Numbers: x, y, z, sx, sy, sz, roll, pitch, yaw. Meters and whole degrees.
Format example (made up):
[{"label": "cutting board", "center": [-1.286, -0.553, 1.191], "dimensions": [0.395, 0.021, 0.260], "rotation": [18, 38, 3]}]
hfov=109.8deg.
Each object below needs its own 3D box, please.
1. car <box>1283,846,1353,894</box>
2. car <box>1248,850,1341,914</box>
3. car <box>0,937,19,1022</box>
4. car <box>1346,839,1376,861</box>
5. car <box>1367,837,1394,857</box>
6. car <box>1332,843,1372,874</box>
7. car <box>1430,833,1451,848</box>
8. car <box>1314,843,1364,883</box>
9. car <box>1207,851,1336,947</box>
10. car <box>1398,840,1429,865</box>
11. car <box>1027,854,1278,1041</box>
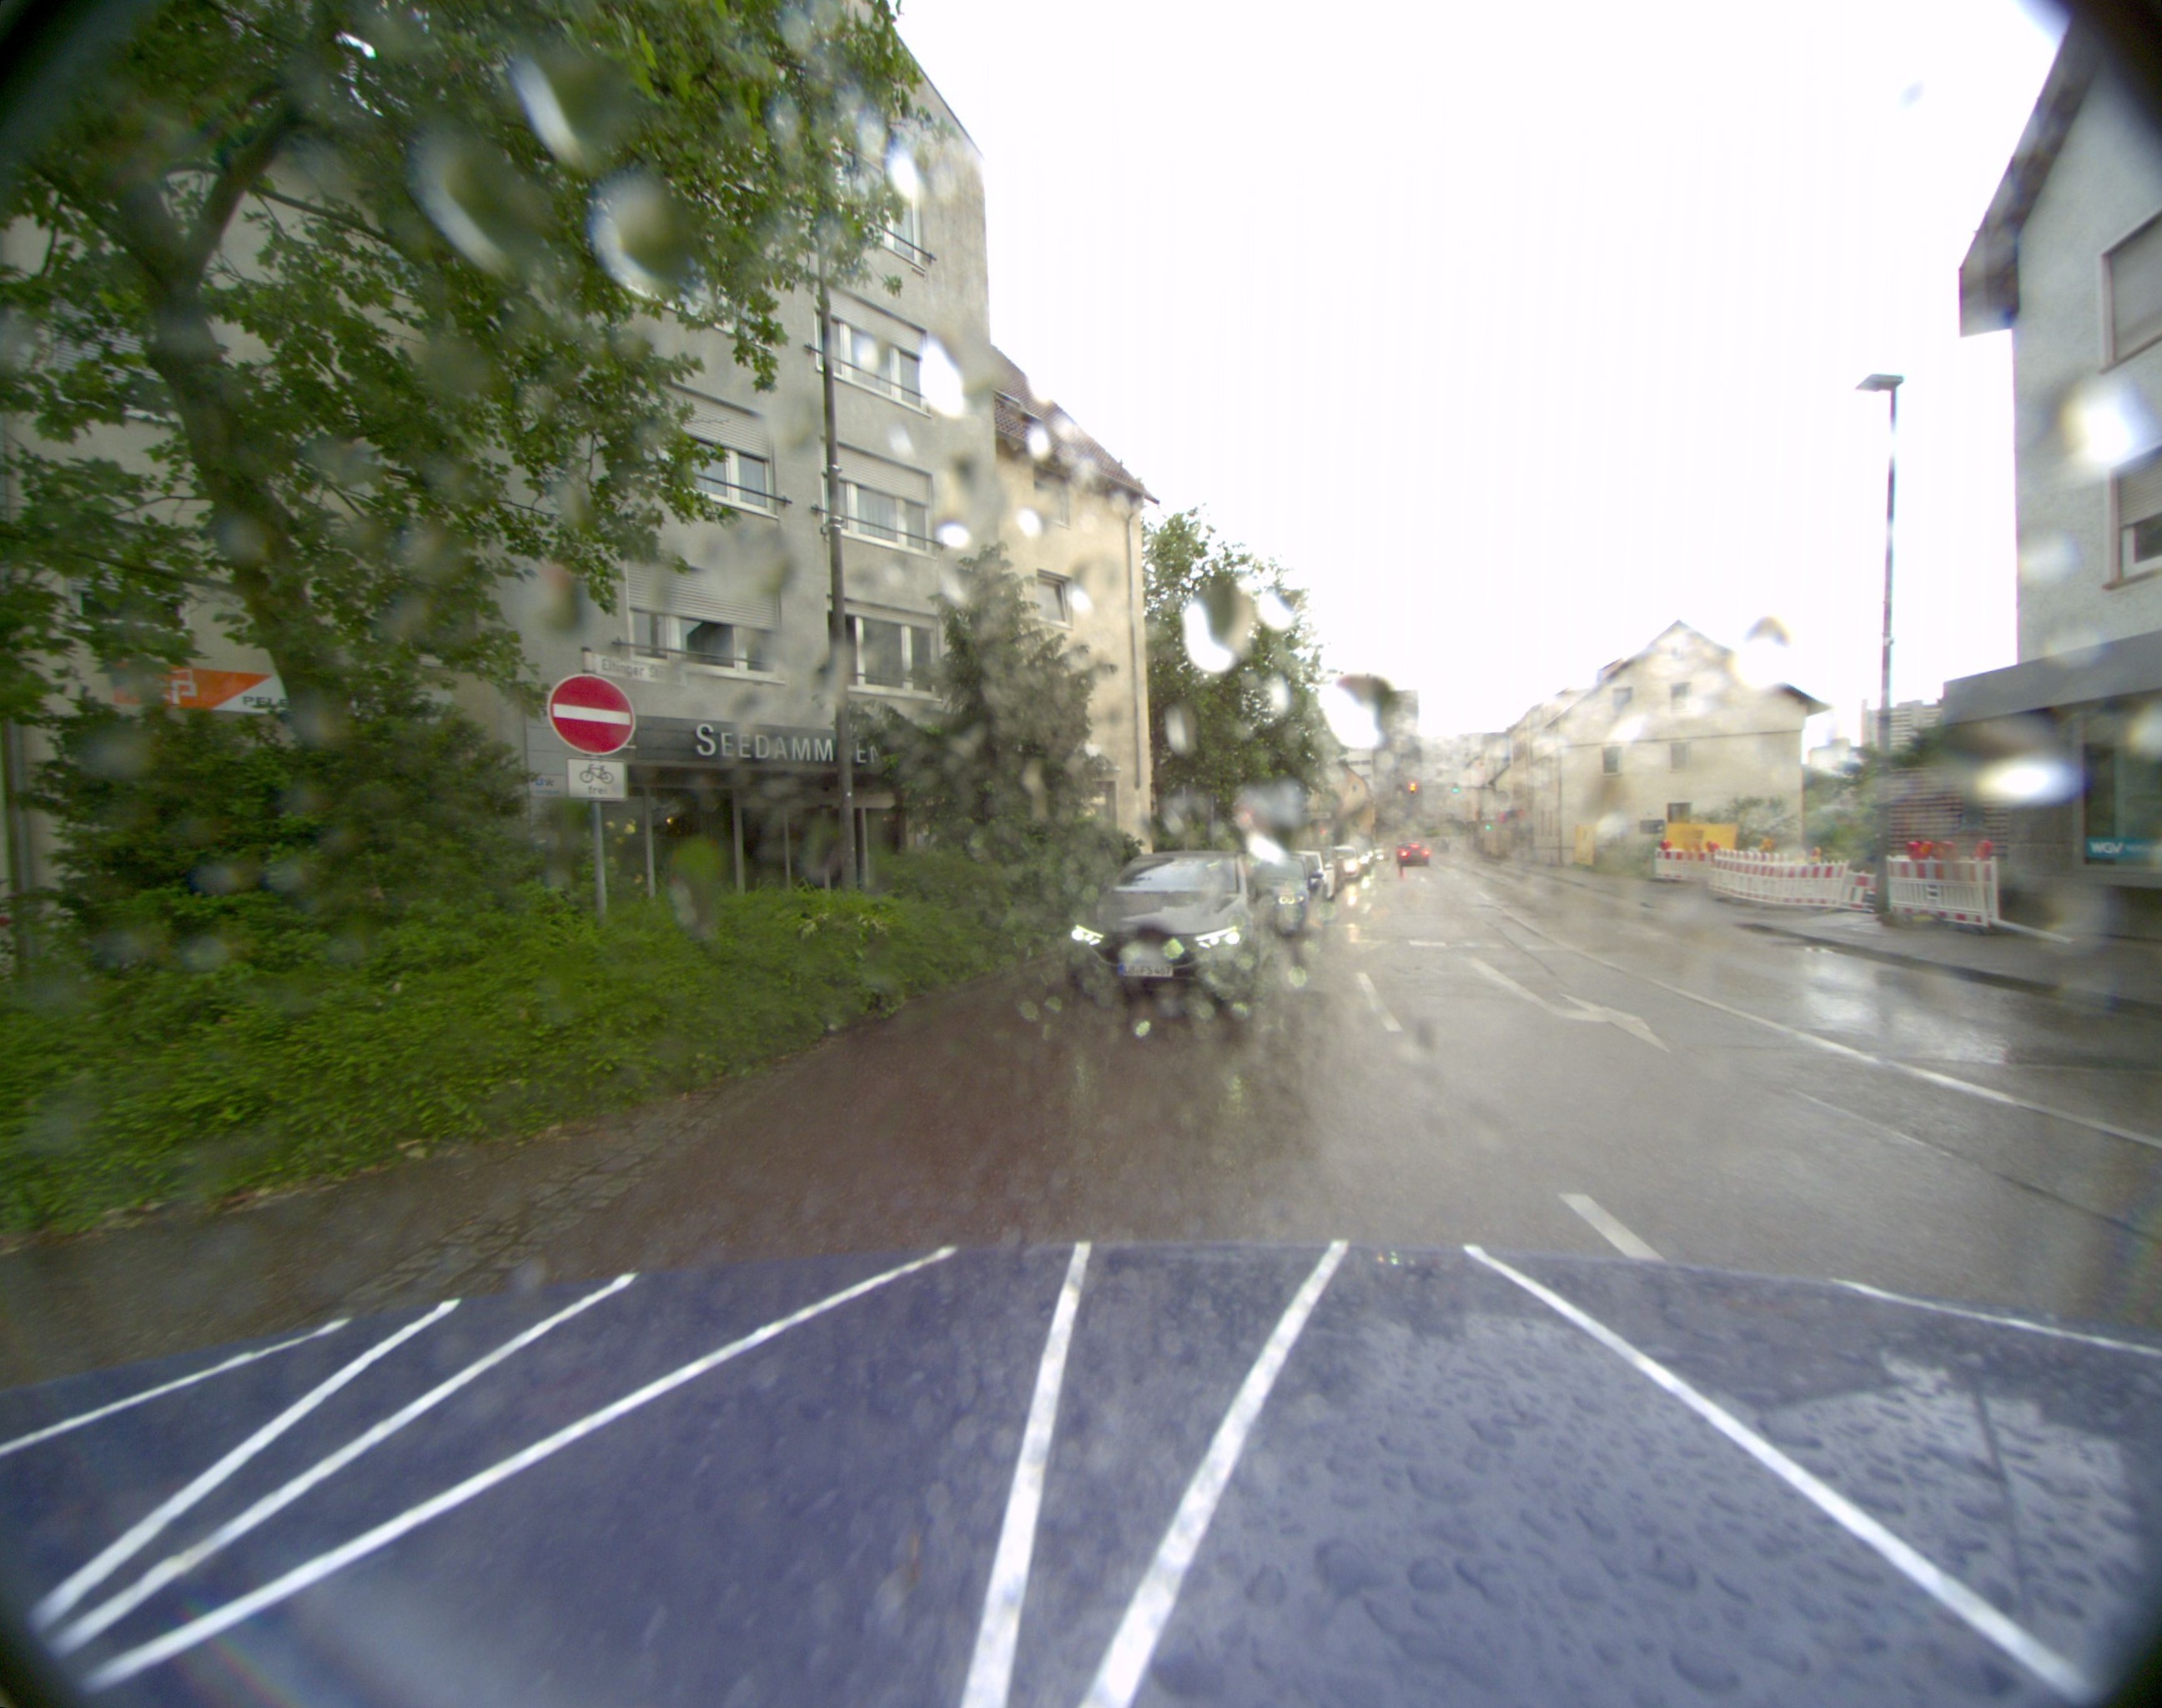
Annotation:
[{"label": "car", "center": [8.519, 0.526, 27.073], "dimensions": [1.810, 1.556, 4.006], "rotation": [-1, 1, 26]}, {"label": "car", "center": [5.945, 0.702, 20.859], "dimensions": [1.996, 1.444, 4.005], "rotation": [-3, 1, 22]}, {"label": "car", "center": [-20.346, 2.331, 12.802], "dimensions": [2.004, 1.564, 3.990], "rotation": [-2, -2, -42]}, {"label": "car", "center": [20.109, -0.287, 54.613], "dimensions": [1.850, 1.469, 4.005], "rotation": [-2, 0, 20]}, {"label": "car", "center": [26.153, -0.548, 66.467], "dimensions": [1.996, 1.542, 4.007], "rotation": [-1, -2, 18]}, {"label": "car", "center": [14.914, 0.205, 41.681], "dimensions": [1.829, 1.543, 4.006], "rotation": [-3, 0, 22]}, {"label": "car", "center": [38.832, -1.423, 82.158], "dimensions": [1.810, 1.556, 4.006], "rotation": [-1, 1, 23]}, {"label": "car", "center": [11.634, 0.380, 34.174], "dimensions": [1.841, 1.612, 4.006], "rotation": [-2, 1, 22]}, {"label": "car", "center": [3.886, 0.763, 14.901], "dimensions": [1.771, 1.524, 4.384], "rotation": [-2, 0, 23]}, {"label": "car", "center": [22.304, -0.138, 50.996], "dimensions": [1.810, 1.556, 4.006], "rotation": [-1, 1, 23]}, {"label": "car", "center": [1.110, 0.812, 8.650], "dimensions": [1.996, 1.484, 4.318], "rotation": [-2, 0, 17]}]
